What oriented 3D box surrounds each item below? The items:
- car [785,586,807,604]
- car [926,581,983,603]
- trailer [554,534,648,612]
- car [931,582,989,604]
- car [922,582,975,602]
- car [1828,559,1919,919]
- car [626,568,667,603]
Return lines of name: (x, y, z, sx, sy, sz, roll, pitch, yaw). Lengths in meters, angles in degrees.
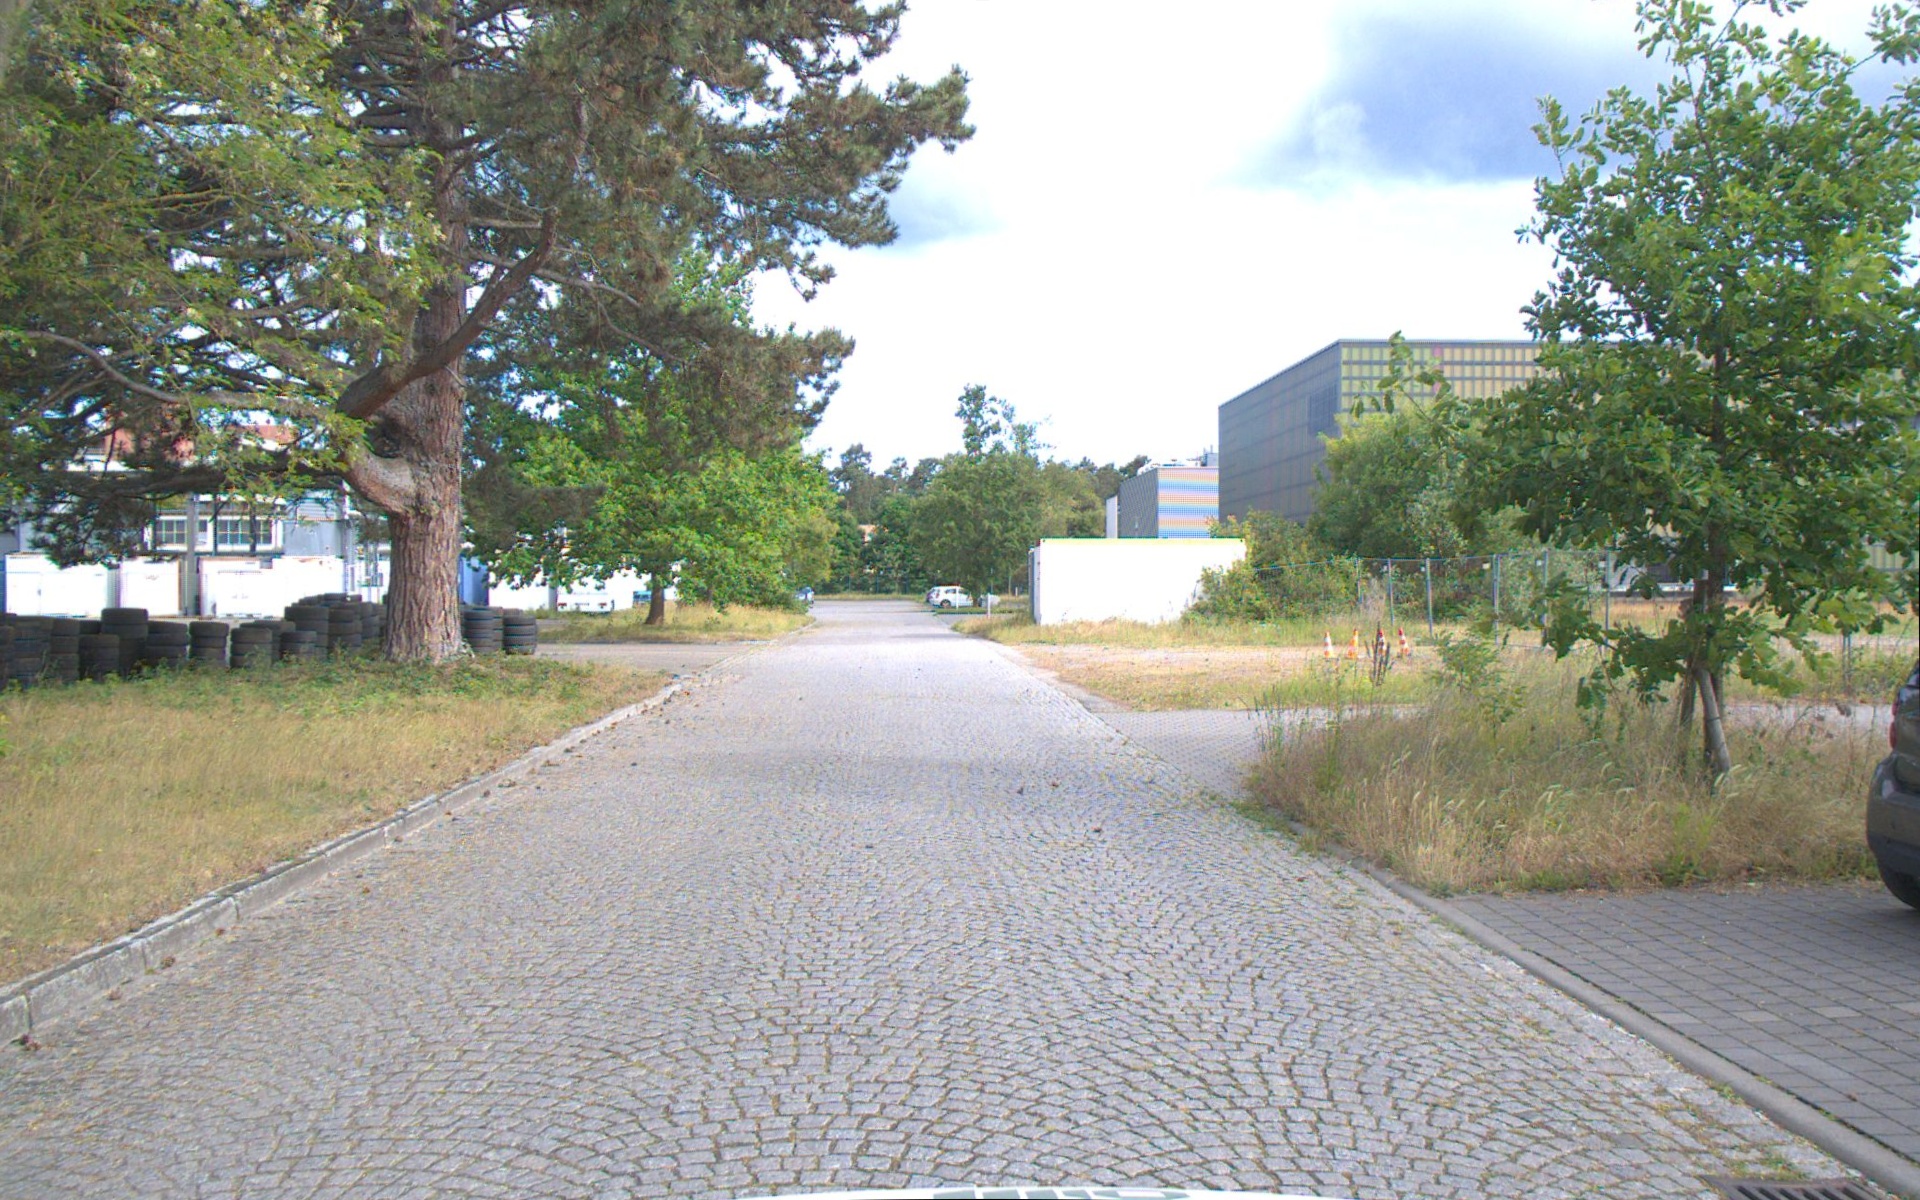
car: (-13.646, -0.426, 137.625, 1.715, 1.387, 3.996, 0, 0, -5)
car: (-0.393, -0.579, 116.516, 3.907, 1.481, 1.696, 0, 0, -3)
trailer: (-18.514, -1.369, 86.069, 2.602, 3.770, 10.720, 0, 0, 0)
car: (0.002, -0.507, 114.367, 3.907, 1.481, 1.999, 0, 0, -3)
car: (-0.898, -0.598, 124.440, 3.907, 1.481, 1.769, 0, 0, -3)
car: (5.635, 0.577, 7.297, 2.686, 1.609, 1.682, -2, 1, -3)
car: (-23.747, -1.115, 125.476, 1.952, 2.567, 5.618, 0, 0, 1)
